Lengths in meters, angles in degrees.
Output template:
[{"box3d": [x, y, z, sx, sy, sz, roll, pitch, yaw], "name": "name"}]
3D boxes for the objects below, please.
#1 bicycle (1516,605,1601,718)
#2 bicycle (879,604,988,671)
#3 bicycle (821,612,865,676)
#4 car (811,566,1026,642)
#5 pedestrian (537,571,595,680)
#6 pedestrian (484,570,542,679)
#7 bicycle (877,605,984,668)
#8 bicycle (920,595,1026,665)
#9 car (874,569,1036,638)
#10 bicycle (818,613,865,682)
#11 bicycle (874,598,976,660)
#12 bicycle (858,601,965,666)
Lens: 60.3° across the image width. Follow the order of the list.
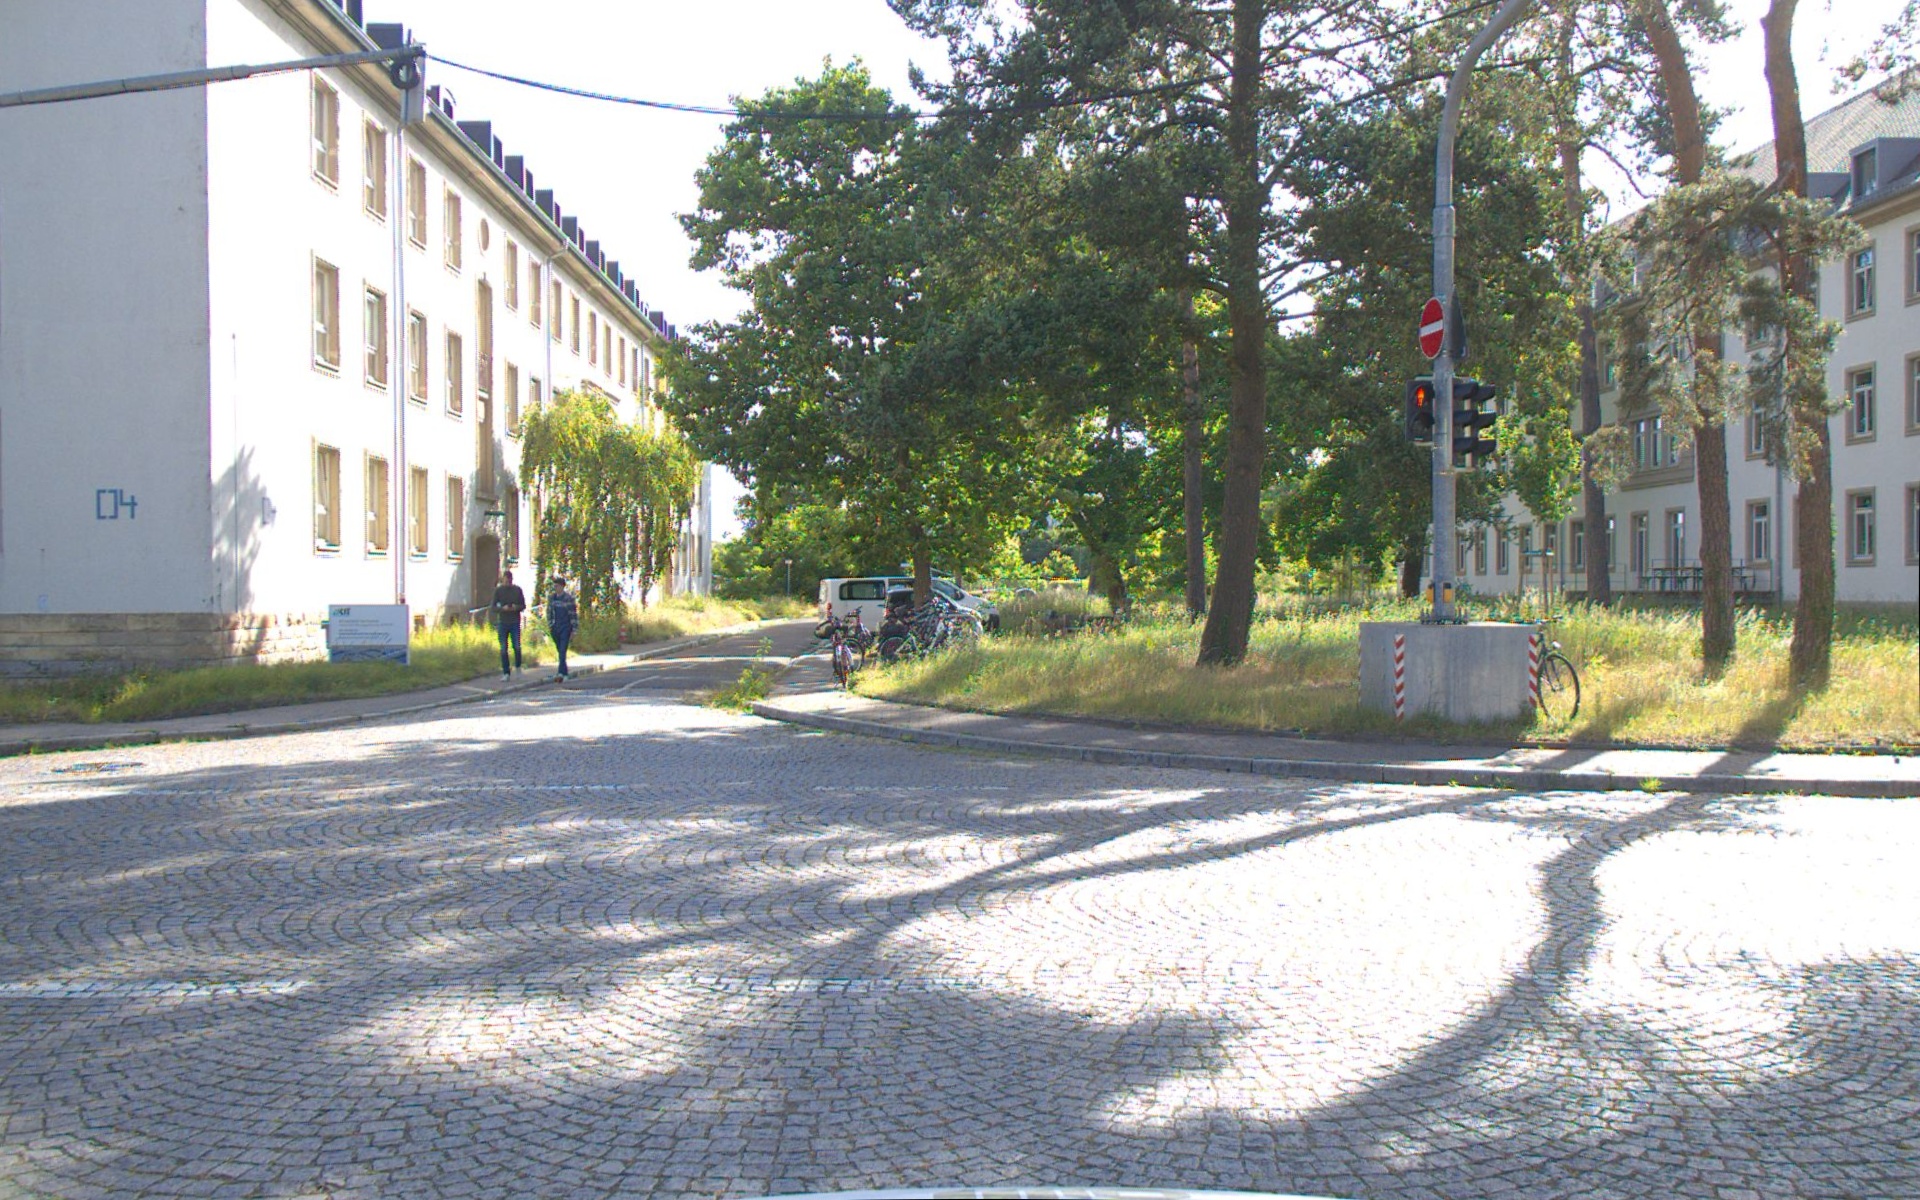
[{"box3d": [6.058, 0.600, 16.779, 0.456, 1.099, 1.174, 0, 0, 2], "name": "bicycle"}, {"box3d": [-0.479, 0.658, 29.507, 1.903, 1.149, 0.749, 0, 0, -5], "name": "bicycle"}, {"box3d": [-1.908, 0.707, 27.127, 0.681, 0.988, 1.859, 0, 0, -4], "name": "bicycle"}, {"box3d": [-1.227, 0.095, 46.767, 5.820, 2.049, 2.470, 0, 0, -9], "name": "car"}, {"box3d": [-6.770, 0.430, 28.438, 0.751, 1.849, 0.683, 0, 0, 9], "name": "pedestrian"}, {"box3d": [-7.691, 0.411, 28.454, 0.794, 1.849, 0.555, 0, 0, 9], "name": "pedestrian"}, {"box3d": [-0.521, 0.621, 28.704, 1.818, 1.049, 0.749, 0, 0, -5], "name": "bicycle"}, {"box3d": [0.239, 0.535, 30.223, 1.903, 1.257, 0.485, 0, 0, -5], "name": "bicycle"}, {"box3d": [-0.158, 0.065, 42.468, 3.914, 1.713, 1.843, 0, 0, -10], "name": "car"}, {"box3d": [-1.792, 0.707, 25.180, 0.681, 0.988, 1.859, 0, 0, -4], "name": "bicycle"}, {"box3d": [-0.678, 0.549, 31.811, 1.904, 1.149, 0.647, 0, 0, -7], "name": "bicycle"}, {"box3d": [-0.889, 0.604, 30.701, 1.919, 1.149, 0.641, -1, 0, -29], "name": "bicycle"}]
